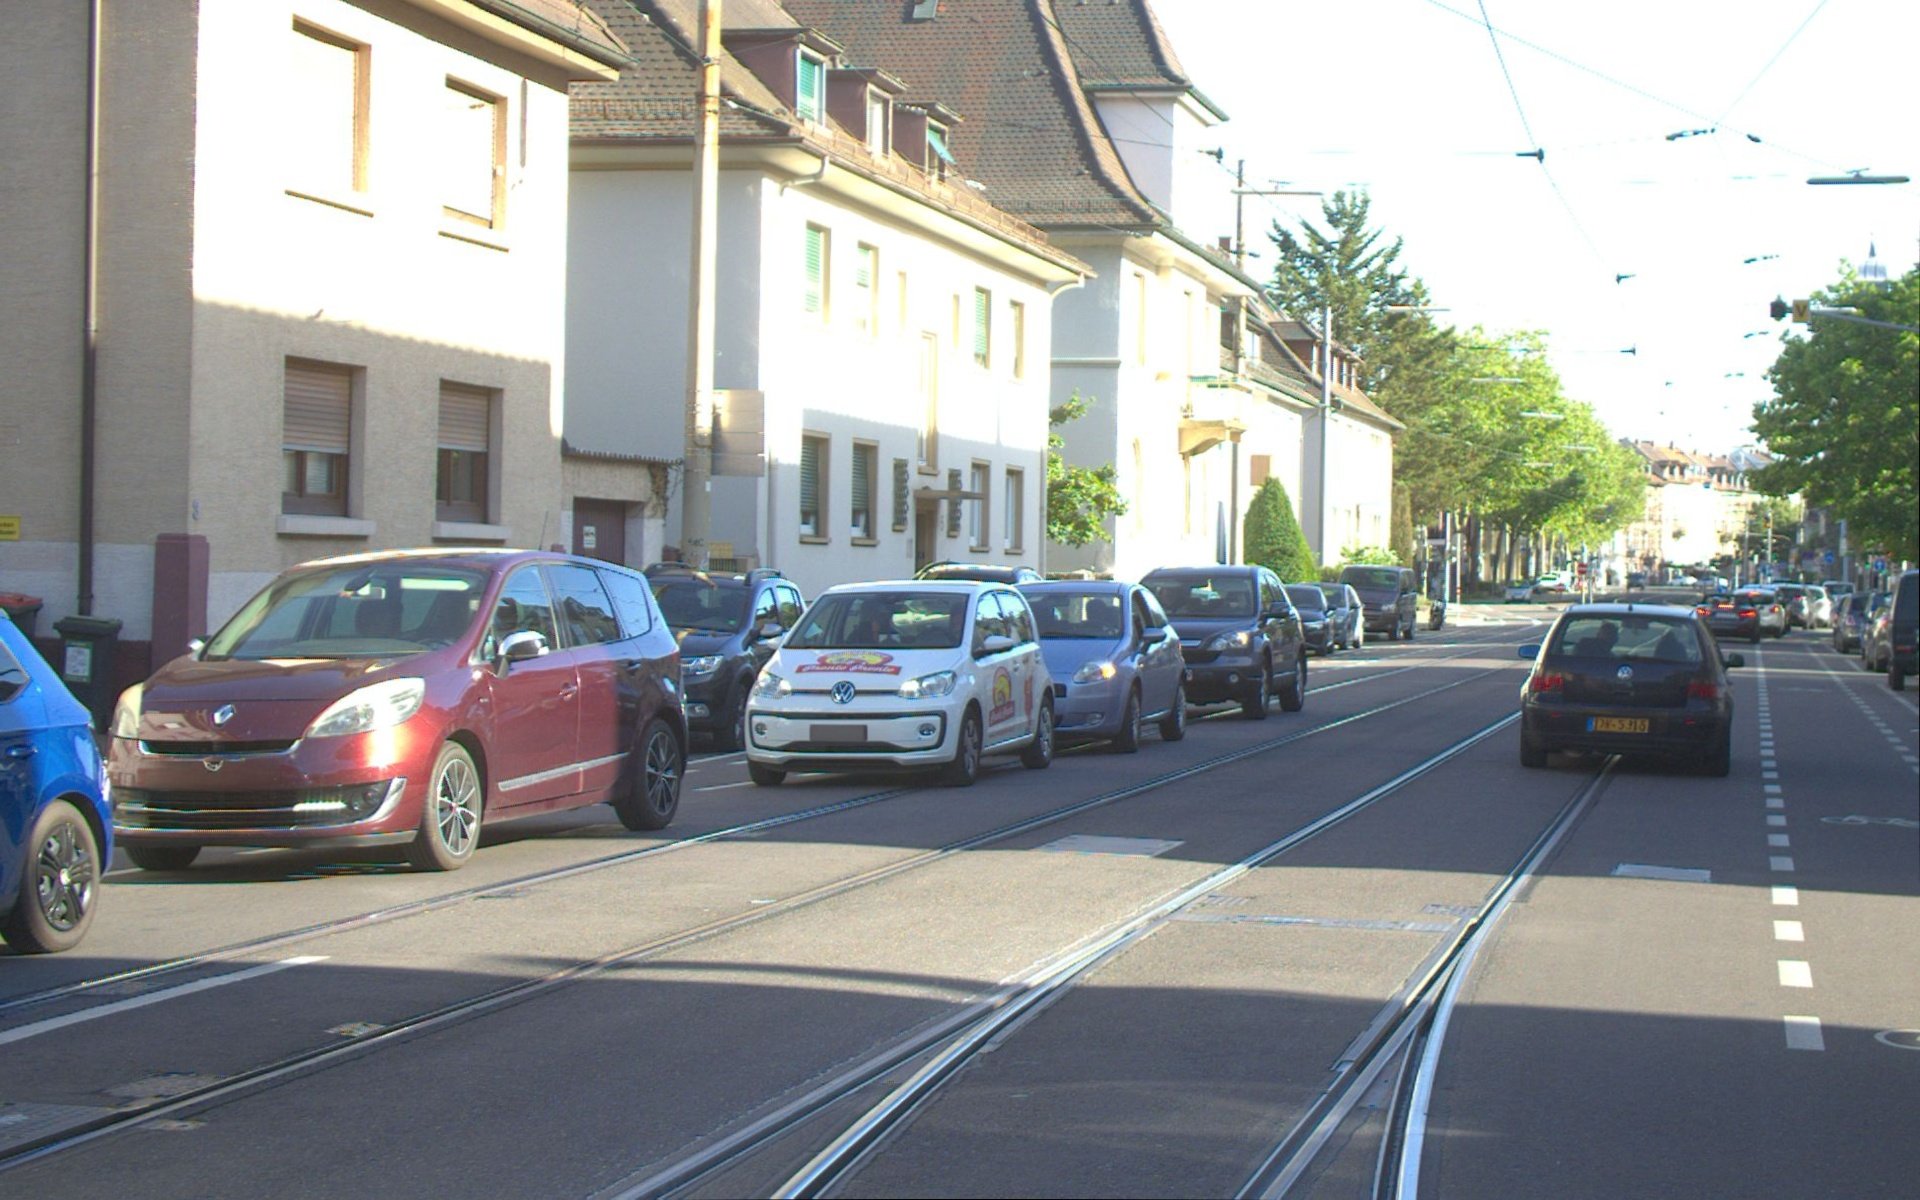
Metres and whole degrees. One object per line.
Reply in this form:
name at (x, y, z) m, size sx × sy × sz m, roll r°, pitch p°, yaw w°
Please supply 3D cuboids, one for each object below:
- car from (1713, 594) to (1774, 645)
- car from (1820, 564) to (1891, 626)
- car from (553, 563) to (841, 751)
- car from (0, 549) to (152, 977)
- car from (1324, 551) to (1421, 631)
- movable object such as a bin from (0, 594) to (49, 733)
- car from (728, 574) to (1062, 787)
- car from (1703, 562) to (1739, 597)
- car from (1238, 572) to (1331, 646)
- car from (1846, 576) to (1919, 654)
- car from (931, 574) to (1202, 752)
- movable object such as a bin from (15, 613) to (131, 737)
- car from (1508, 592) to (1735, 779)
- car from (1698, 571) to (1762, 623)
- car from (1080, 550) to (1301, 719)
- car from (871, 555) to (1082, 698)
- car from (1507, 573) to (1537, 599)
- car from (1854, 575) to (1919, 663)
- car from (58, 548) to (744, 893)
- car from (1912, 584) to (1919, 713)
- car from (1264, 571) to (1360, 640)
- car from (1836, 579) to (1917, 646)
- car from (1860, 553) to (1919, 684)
car at (23.479, 0.563, 103.014) m, size 1.741 × 1.436 × 3.807 m, roll 1°, pitch 1°, yaw 13°
car at (24.110, -0.144, 92.611) m, size 1.666 × 1.558 × 3.768 m, roll 2°, pitch 1°, yaw 13°
car at (-2.359, 0.486, 31.805) m, size 1.616 × 1.622 × 3.919 m, roll 0°, pitch 0°, yaw 12°
car at (-4.549, 0.619, 11.989) m, size 1.685 × 1.562 × 3.926 m, roll -1°, pitch 0°, yaw 15°
car at (11.116, -0.267, 92.486) m, size 1.907 × 2.007 × 4.946 m, roll 3°, pitch 1°, yaw 14°
movable object such as a bin at (-7.828, 0.496, 27.764) m, size 0.616 × 1.076 × 0.672 m, roll 4°, pitch 1°, yaw 13°
car at (-0.408, 0.546, 25.451) m, size 1.583 × 1.456 × 3.611 m, roll 0°, pitch 0°, yaw 14°
car at (43.471, -1.193, 196.416) m, size 1.788 × 1.853 × 3.998 m, roll 4°, pitch 1°, yaw 11°
car at (6.855, 0.166, 72.330) m, size 1.663 × 1.472 × 4.249 m, roll 1°, pitch 1°, yaw 9°
car at (20.543, 0.316, 76.225) m, size 1.458 × 1.593 × 3.292 m, roll 3°, pitch 1°, yaw 11°
car at (1.012, 0.507, 30.338) m, size 1.618 × 1.456 × 4.073 m, roll 0°, pitch 0°, yaw 13°
movable object such as a bin at (-7.154, 0.598, 27.743) m, size 0.658 × 0.941 × 0.582 m, roll 4°, pitch 1°, yaw 13°
car at (5.730, 0.673, 29.491) m, size 1.717 × 1.398 × 4.004 m, roll 2°, pitch 1°, yaw 13°
car at (20.879, -0.096, 93.143) m, size 1.635 × 1.368 × 3.755 m, roll 1°, pitch 1°, yaw 14°
car at (2.560, 0.333, 37.226) m, size 1.705 × 1.699 × 4.361 m, roll 1°, pitch 0°, yaw 13°
car at (0.268, 0.311, 43.363) m, size 1.763 × 1.699 × 4.553 m, roll 0°, pitch 0°, yaw 12°
car at (32.554, -0.840, 199.327) m, size 1.575 × 1.472 × 3.440 m, roll 0°, pitch 1°, yaw 7°
car at (18.400, 0.359, 66.612) m, size 1.745 × 1.593 × 4.431 m, roll 3°, pitch 1°, yaw 11°
car at (-2.815, 0.552, 18.535) m, size 1.739 × 1.605 × 4.710 m, roll 0°, pitch 0°, yaw 17°
car at (12.264, 0.626, 40.834) m, size 1.555 × 1.552 × 3.650 m, roll 3°, pitch 1°, yaw 12°
car at (8.104, 0.101, 78.923) m, size 1.677 × 1.472 × 3.833 m, roll 3°, pitch 1°, yaw 13°
car at (22.513, 0.297, 84.526) m, size 1.602 × 1.520 × 3.547 m, roll 3°, pitch 1°, yaw 11°
car at (15.526, 0.284, 54.951) m, size 1.907 × 1.980 × 4.560 m, roll 3°, pitch 1°, yaw 12°
